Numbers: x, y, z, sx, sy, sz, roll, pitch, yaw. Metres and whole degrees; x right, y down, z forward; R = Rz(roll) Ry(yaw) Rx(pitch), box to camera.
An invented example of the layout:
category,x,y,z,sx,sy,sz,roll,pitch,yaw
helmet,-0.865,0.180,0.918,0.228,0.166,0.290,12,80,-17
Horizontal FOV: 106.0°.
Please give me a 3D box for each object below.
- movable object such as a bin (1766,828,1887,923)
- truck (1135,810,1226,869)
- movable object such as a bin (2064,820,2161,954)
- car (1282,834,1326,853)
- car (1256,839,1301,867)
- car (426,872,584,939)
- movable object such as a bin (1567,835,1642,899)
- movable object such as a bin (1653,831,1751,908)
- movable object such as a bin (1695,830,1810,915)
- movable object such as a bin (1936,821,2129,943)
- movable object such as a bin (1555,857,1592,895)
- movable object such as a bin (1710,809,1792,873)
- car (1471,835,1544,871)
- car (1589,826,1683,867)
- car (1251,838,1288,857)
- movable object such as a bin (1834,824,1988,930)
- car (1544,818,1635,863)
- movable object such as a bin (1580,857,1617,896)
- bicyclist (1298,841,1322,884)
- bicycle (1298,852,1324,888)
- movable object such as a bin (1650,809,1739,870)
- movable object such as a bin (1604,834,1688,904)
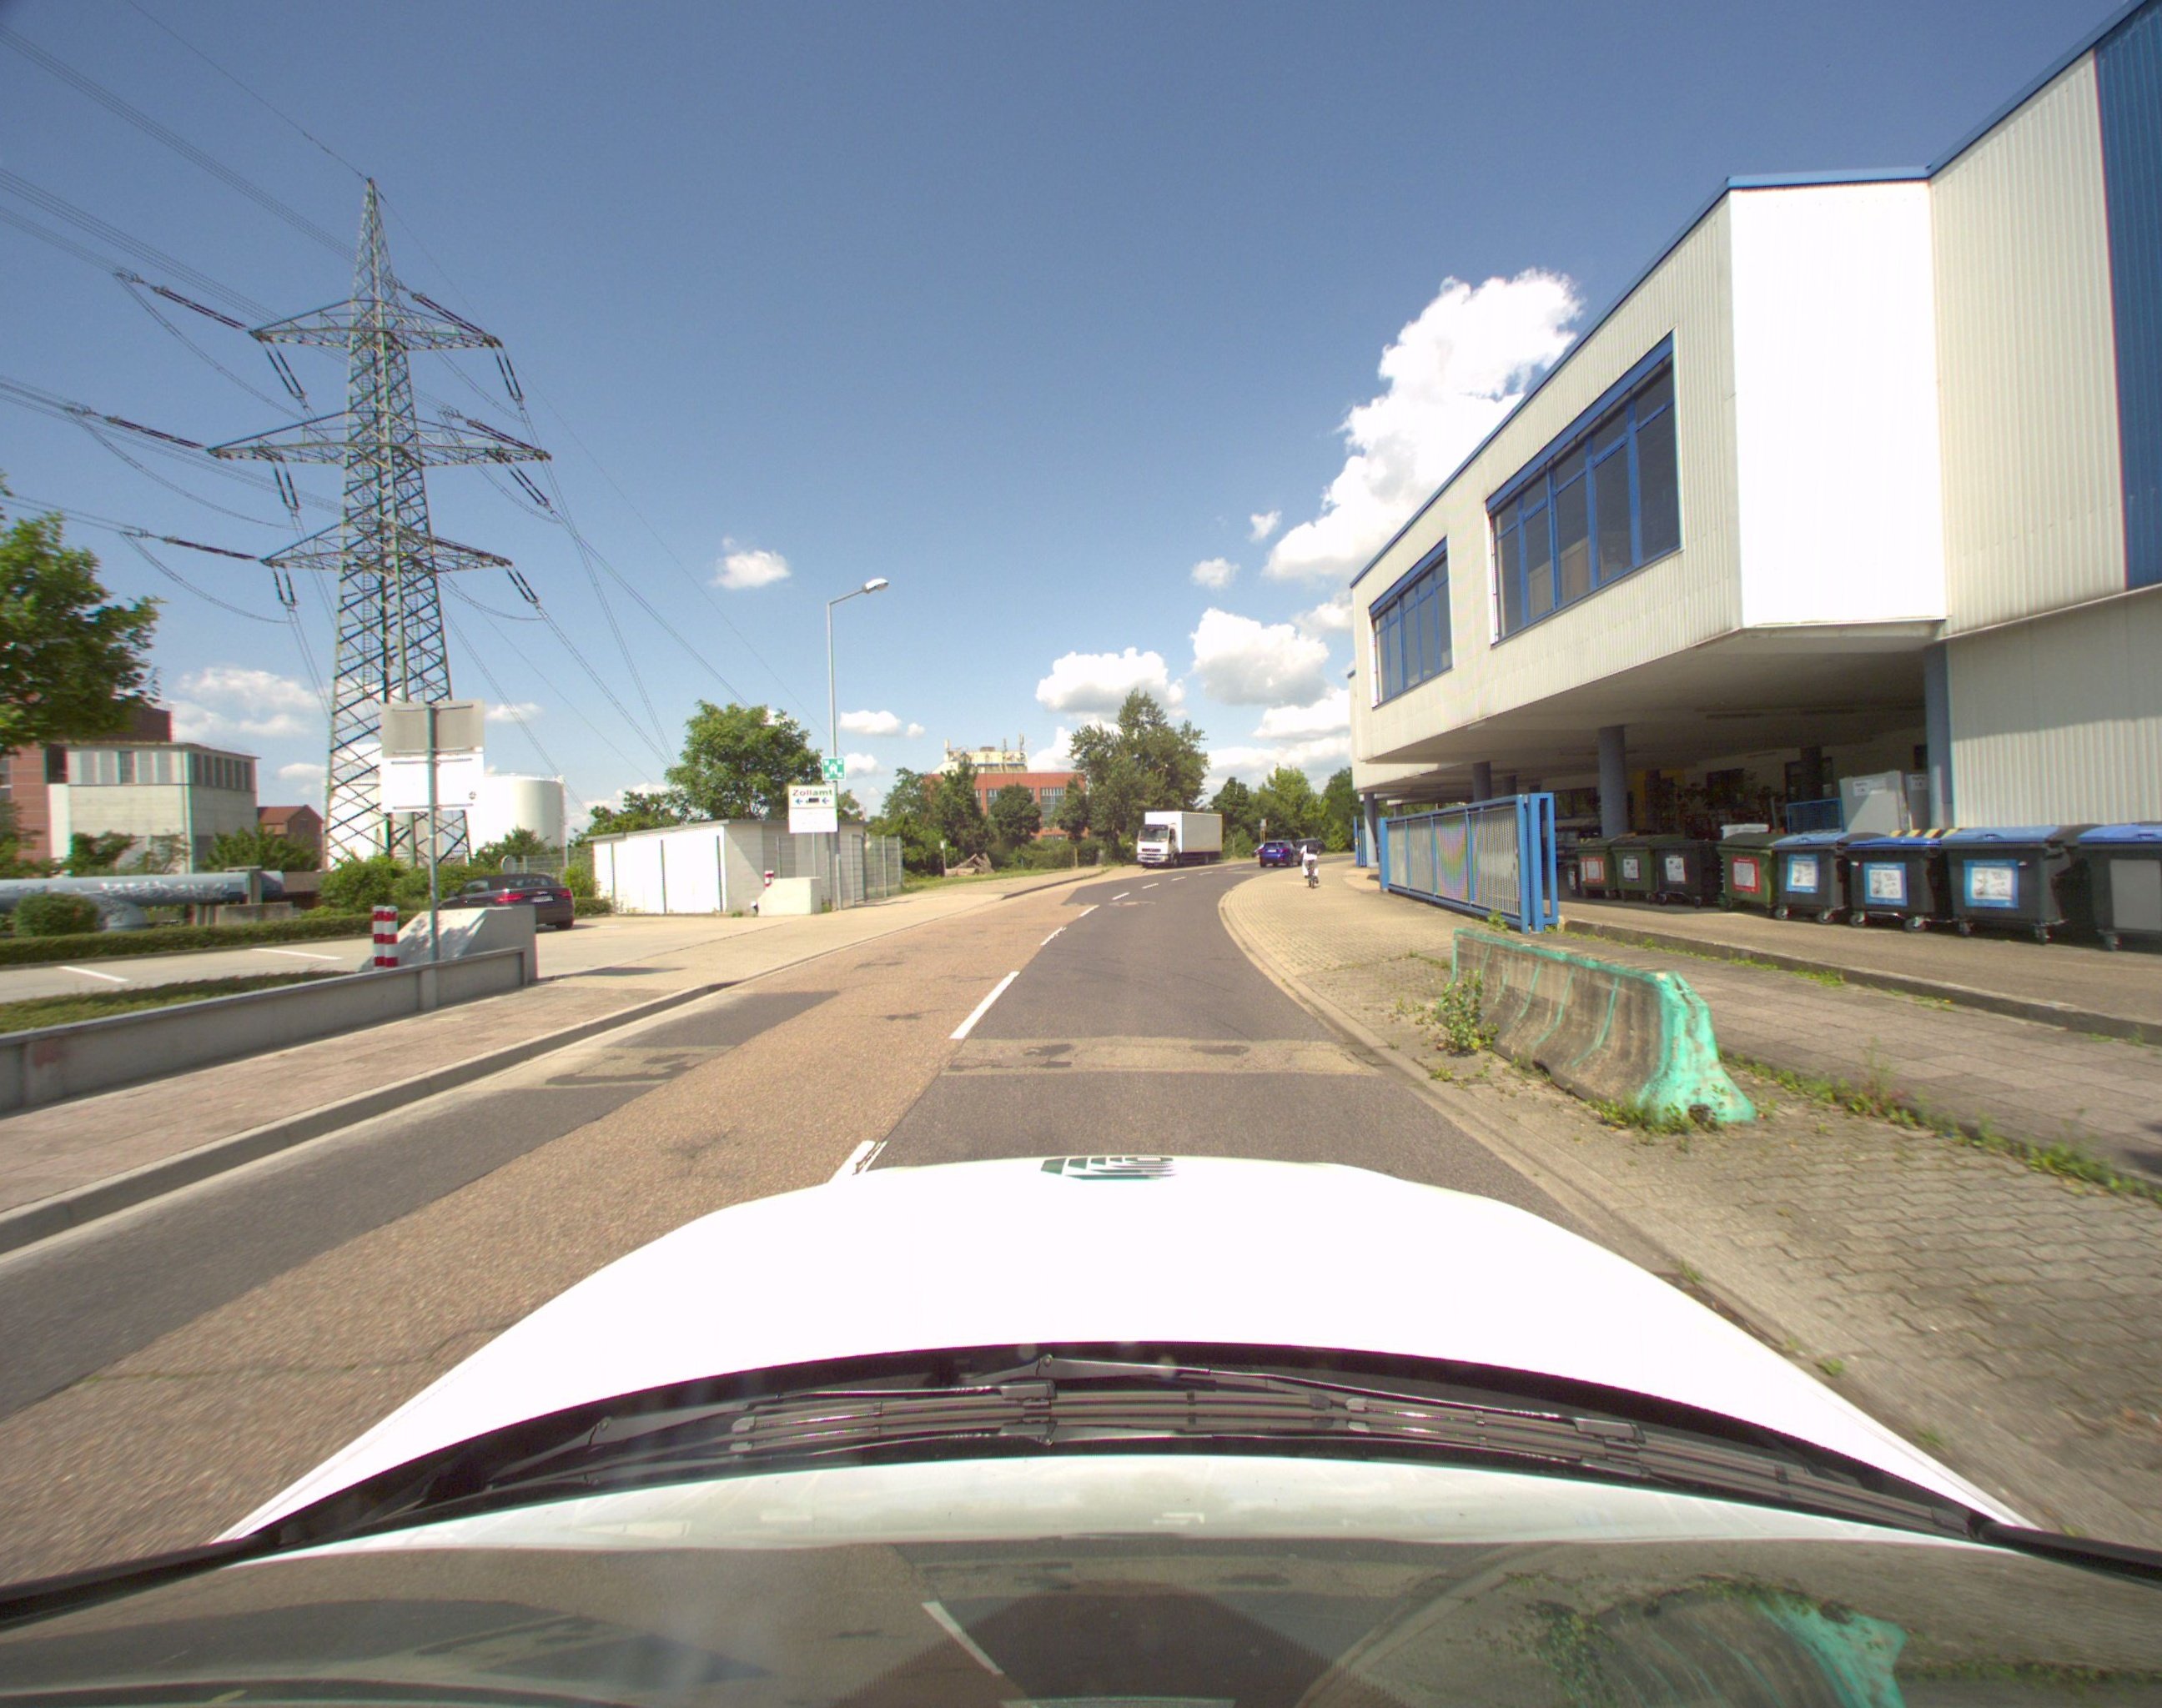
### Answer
category,x,y,z,sx,sy,sz,roll,pitch,yaw
movable object such as a bin,11.835,0.329,12.972,0.802,1.413,1.174,-2,0,-2
truck,6.769,-1.026,53.905,2.299,3.567,9.427,-1,2,31
movable object such as a bin,11.857,0.340,8.796,0.801,1.413,1.357,-2,0,0
car,21.065,-0.969,76.981,3.620,1.570,1.888,-2,0,-3
car,12.438,-0.077,51.035,1.892,1.593,4.728,-2,0,23
car,-14.024,1.229,19.771,3.948,1.378,1.815,-3,0,34
movable object such as a bin,12.056,0.291,18.795,0.802,1.413,1.357,-2,0,-2
movable object such as a bin,12.125,0.292,15.961,0.802,1.413,1.405,-2,0,-2
movable object such as a bin,11.809,0.311,14.375,0.802,1.413,1.426,-2,0,-2
movable object such as a bin,11.887,0.331,10.240,0.801,1.413,1.357,-2,0,0
movable object such as a bin,12.556,0.547,20.755,0.586,0.943,0.544,-2,0,-2
movable object such as a bin,23.180,-0.470,28.145,2.927,2.085,1.305,-2,1,-32
car,23.149,-0.082,44.187,3.671,1.658,1.656,-5,3,-26
car,22.571,-0.327,33.112,3.676,1.546,1.824,-2,1,-32
car,16.468,-0.542,71.354,2.885,1.570,1.892,-2,0,4
movable object such as a bin,11.904,0.312,11.746,0.801,1.413,1.357,-2,0,0
car,22.217,-0.599,35.535,4.120,1.780,1.742,-3,1,-32
movable object such as a bin,12.615,0.549,19.854,0.597,0.910,0.417,-2,0,-2
bicyclist,7.600,0.279,27.066,0.659,1.397,0.861,-3,0,12
bicycle,7.621,0.513,27.050,0.662,1.109,2.175,-3,0,12
movable object such as a bin,22.406,-0.557,29.714,3.448,2.085,1.420,-2,1,-32
movable object such as a bin,12.052,0.316,17.409,0.802,1.413,1.357,-2,0,-2
